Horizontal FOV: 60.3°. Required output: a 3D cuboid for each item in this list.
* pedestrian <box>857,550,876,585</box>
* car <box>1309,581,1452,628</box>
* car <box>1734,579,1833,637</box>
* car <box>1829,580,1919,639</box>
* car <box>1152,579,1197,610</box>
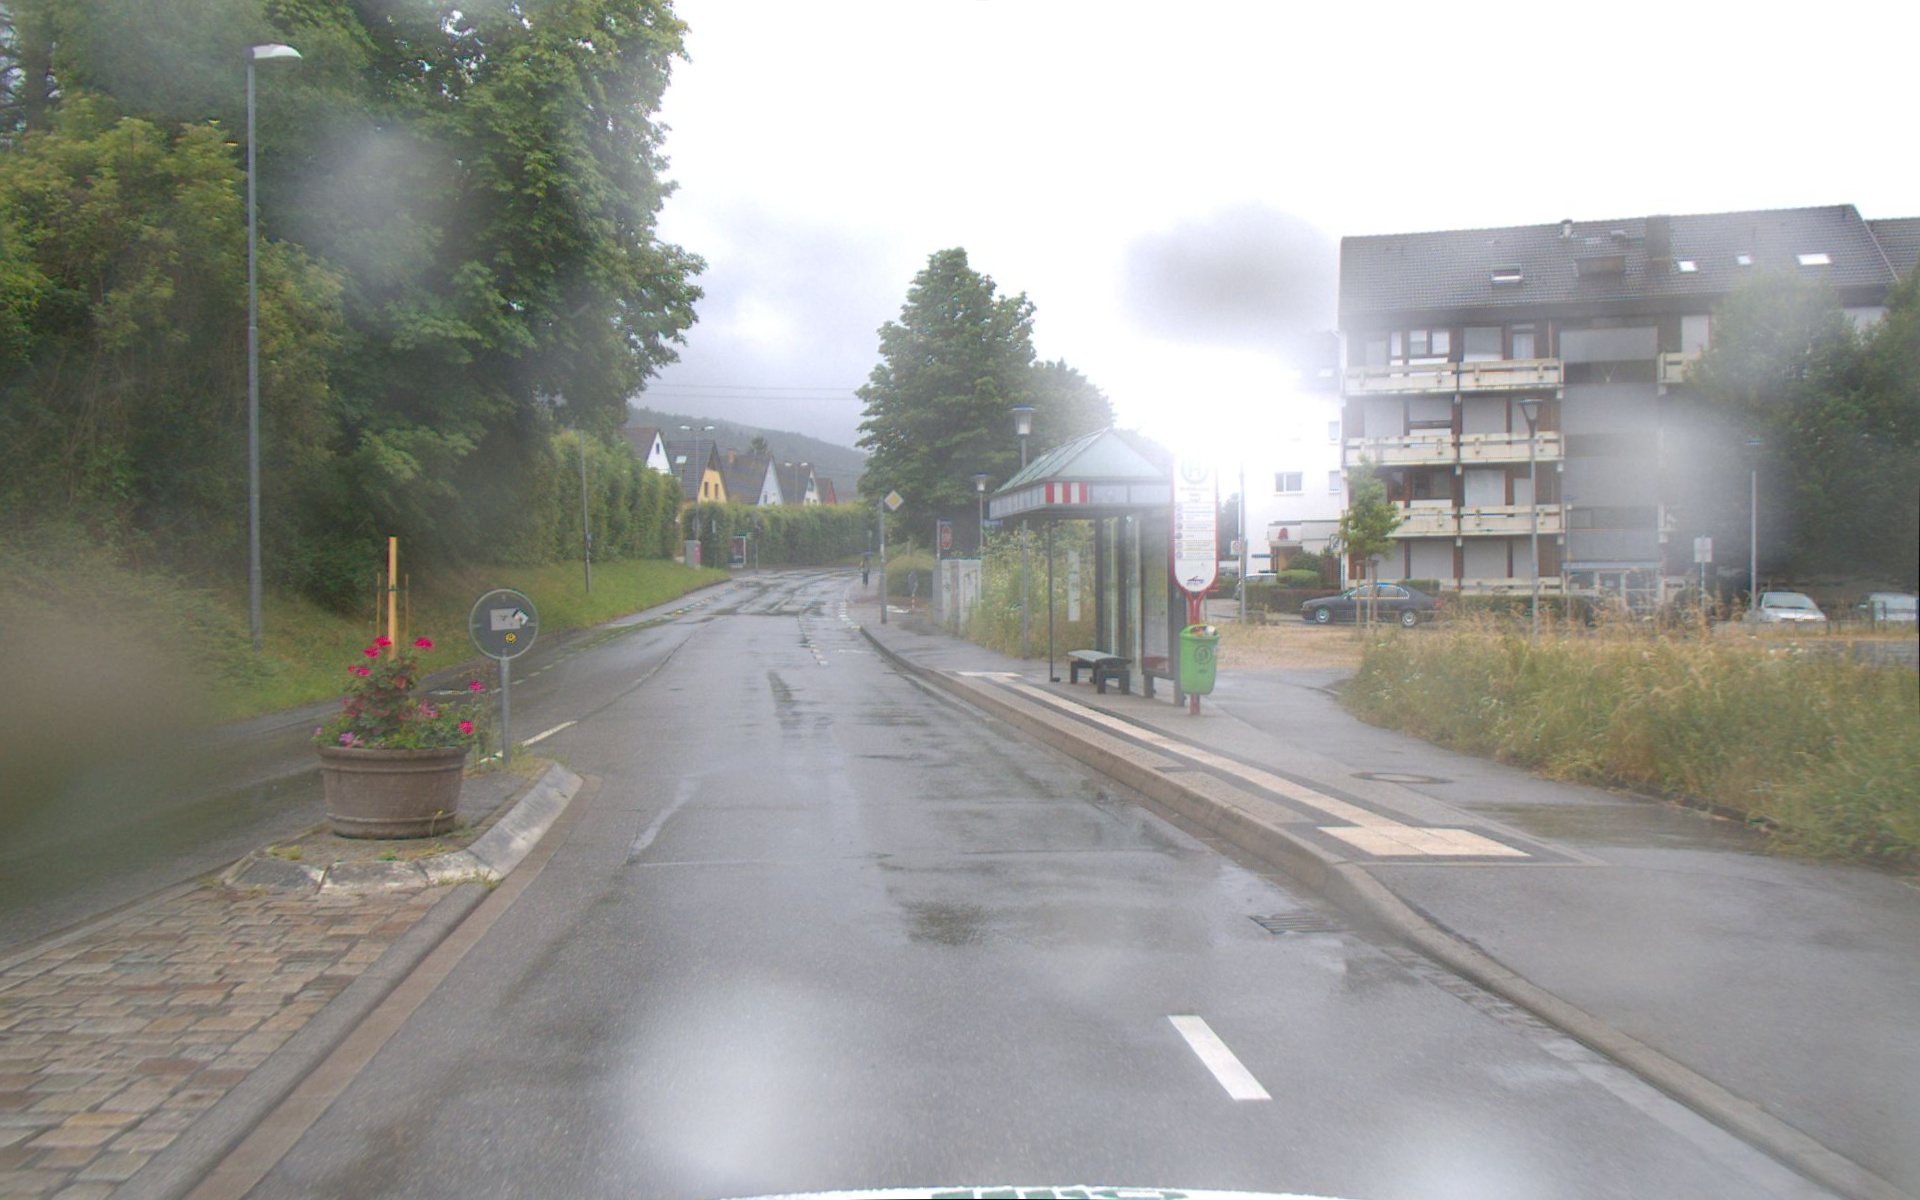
[{"bbox_3d":[-4.665,-1.639,82.475,0.901,1.704,1.057,-2,2,-3],"label":"pedestrian"},{"bbox_3d":[13.987,0.142,55.007,4.503,1.411,1.948,1,1,15],"label":"car"},{"bbox_3d":[22.526,0.242,45.356,1.679,1.466,3.709,1,-2,14],"label":"car"},{"bbox_3d":[24.798,0.278,44.490,1.679,1.466,3.709,1,-2,14],"label":"car"},{"bbox_3d":[10.833,-0.304,83.826,1.654,1.463,3.610,0,2,-3],"label":"car"}]
